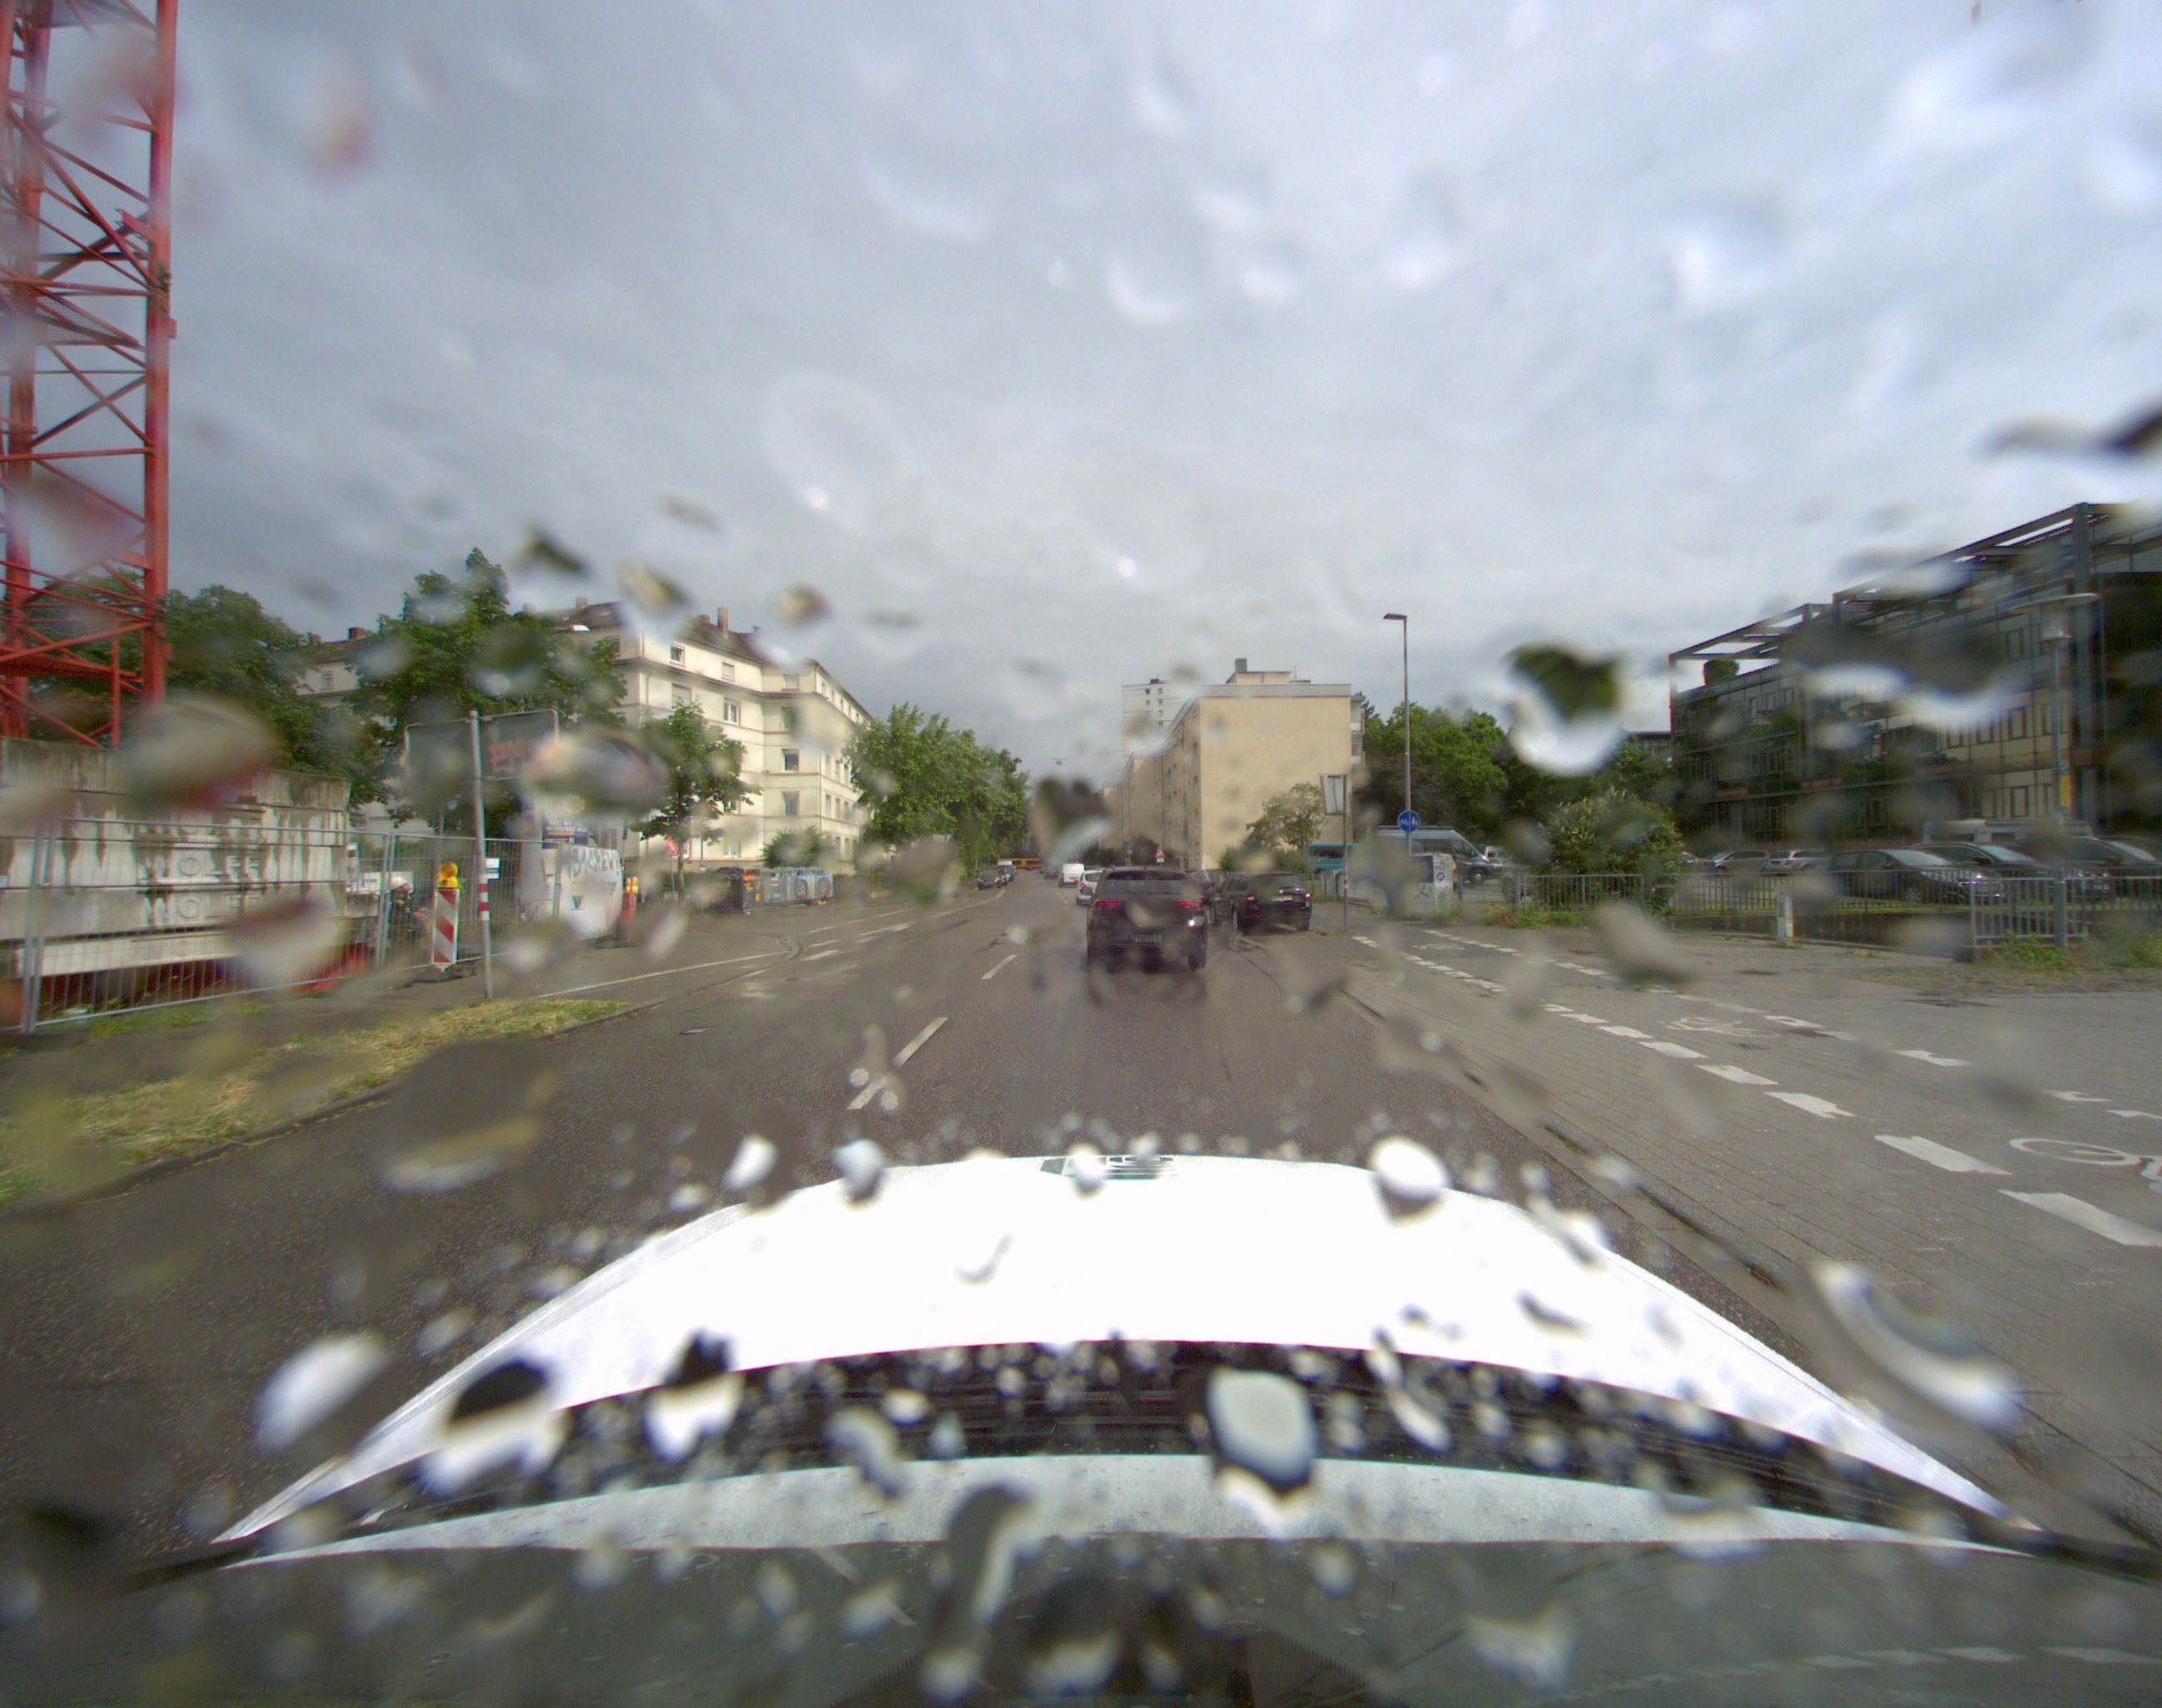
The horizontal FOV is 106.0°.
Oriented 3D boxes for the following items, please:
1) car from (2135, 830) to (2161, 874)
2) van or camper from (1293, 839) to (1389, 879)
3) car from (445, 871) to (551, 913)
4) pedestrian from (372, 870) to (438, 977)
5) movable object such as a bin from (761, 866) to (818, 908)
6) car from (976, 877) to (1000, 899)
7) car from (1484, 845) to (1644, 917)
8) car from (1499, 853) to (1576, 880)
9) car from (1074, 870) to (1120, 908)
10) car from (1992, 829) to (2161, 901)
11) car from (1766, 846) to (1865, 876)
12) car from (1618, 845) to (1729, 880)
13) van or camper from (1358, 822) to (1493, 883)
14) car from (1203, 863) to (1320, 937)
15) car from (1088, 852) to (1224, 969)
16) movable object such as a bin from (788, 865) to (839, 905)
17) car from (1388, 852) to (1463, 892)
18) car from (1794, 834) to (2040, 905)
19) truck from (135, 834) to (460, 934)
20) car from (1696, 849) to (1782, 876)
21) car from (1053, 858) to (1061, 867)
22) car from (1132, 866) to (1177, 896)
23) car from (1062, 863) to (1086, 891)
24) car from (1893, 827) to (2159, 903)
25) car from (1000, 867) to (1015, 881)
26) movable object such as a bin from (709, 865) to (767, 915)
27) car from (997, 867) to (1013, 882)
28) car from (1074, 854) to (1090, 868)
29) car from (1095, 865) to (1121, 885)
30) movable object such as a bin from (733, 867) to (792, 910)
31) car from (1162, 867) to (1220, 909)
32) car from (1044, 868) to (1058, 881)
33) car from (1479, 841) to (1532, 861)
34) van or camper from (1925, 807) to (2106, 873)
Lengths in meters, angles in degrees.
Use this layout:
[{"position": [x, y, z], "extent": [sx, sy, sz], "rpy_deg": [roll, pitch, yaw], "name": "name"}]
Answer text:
[{"position": [38.647, -0.036, 27.611], "extent": [3.653, 1.486, 1.673], "rpy_deg": [1, -1, 1], "name": "car"}, {"position": [14.669, 0.287, 46.133], "extent": [4.739, 2.131, 2.323], "rpy_deg": [-1, -1, 3], "name": "van or camper"}, {"position": [-24.273, 1.578, 33.965], "extent": [3.473, 1.585, 1.671], "rpy_deg": [-2, -1, 12], "name": "car"}, {"position": [-10.780, 1.084, 13.018], "extent": [0.727, 1.630, 0.676], "rpy_deg": [3, -3, -38], "name": "pedestrian"}, {"position": [-12.290, 1.378, 34.406], "extent": [1.525, 1.674, 1.674], "rpy_deg": [-2, 0, 19], "name": "movable object such as a bin"}, {"position": [-6.810, 2.473, 60.046], "extent": [1.583, 1.506, 4.057], "rpy_deg": [-2, -1, -5], "name": "car"}, {"position": [13.060, 0.705, 22.374], "extent": [1.798, 1.750, 4.236], "rpy_deg": [-2, -1, -1], "name": "car"}, {"position": [27.172, 0.730, 48.521], "extent": [3.651, 1.486, 1.640], "rpy_deg": [-2, -1, 2], "name": "car"}, {"position": [0.642, 1.474, 34.570], "extent": [1.807, 1.503, 3.998], "rpy_deg": [1, -2, 0], "name": "car"}, {"position": [26.302, 0.248, 20.483], "extent": [1.846, 1.679, 4.425], "rpy_deg": [-2, -1, 2], "name": "car"}, {"position": [38.250, 0.358, 42.467], "extent": [3.653, 1.486, 1.673], "rpy_deg": [-1, -1, 1], "name": "car"}, {"position": [27.819, 0.405, 38.336], "extent": [3.960, 1.465, 1.673], "rpy_deg": [-2, -1, 1], "name": "car"}, {"position": [15.011, -0.040, 35.754], "extent": [4.981, 2.555, 2.175], "rpy_deg": [-1, -2, 1], "name": "van or camper"}, {"position": [4.382, 1.063, 20.465], "extent": [1.769, 1.540, 4.374], "rpy_deg": [-3, -1, -2], "name": "car"}, {"position": [1.096, 0.862, 13.673], "extent": [1.867, 1.646, 4.060], "rpy_deg": [1, -2, 0], "name": "car"}, {"position": [-11.788, 1.349, 35.931], "extent": [1.525, 1.662, 1.466], "rpy_deg": [-2, 0, 18], "name": "movable object such as a bin"}, {"position": [13.506, 0.680, 32.106], "extent": [1.604, 1.449, 3.419], "rpy_deg": [-2, -1, 3], "name": "car"}, {"position": [20.732, 0.380, 20.530], "extent": [1.820, 1.527, 4.428], "rpy_deg": [-2, -1, 4], "name": "car"}, {"position": [-28.494, 1.105, 29.754], "extent": [9.743, 3.184, 3.806], "rpy_deg": [-2, -1, 13], "name": "truck"}, {"position": [38.390, 0.493, 47.563], "extent": [3.653, 1.486, 1.673], "rpy_deg": [-1, -1, 1], "name": "car"}, {"position": [-4.776, 1.696, 162.300], "extent": [1.661, 1.838, 3.996], "rpy_deg": [-2, -1, -2], "name": "car"}, {"position": [3.877, 1.405, 43.481], "extent": [1.745, 1.508, 4.105], "rpy_deg": [-1, -1, -4], "name": "car"}, {"position": [-0.564, 1.850, 64.547], "extent": [1.831, 2.103, 3.997], "rpy_deg": [1, -2, -1], "name": "car"}, {"position": [23.728, 0.286, 20.774], "extent": [1.844, 1.679, 4.430], "rpy_deg": [-2, -1, 6], "name": "car"}, {"position": [-8.673, 2.345, 96.260], "extent": [1.583, 1.639, 3.913], "rpy_deg": [-2, -1, -5], "name": "car"}, {"position": [-13.173, 1.363, 31.291], "extent": [1.525, 1.824, 1.269], "rpy_deg": [-2, 0, 18], "name": "movable object such as a bin"}, {"position": [-8.401, 2.251, 90.282], "extent": [1.583, 1.639, 3.913], "rpy_deg": [-2, -1, -5], "name": "car"}, {"position": [0.109, 0.911, 99.645], "extent": [1.834, 1.608, 3.675], "rpy_deg": [-2, -1, 1], "name": "car"}, {"position": [2.111, 1.659, 64.963], "extent": [1.691, 1.539, 4.027], "rpy_deg": [-2, -1, -3], "name": "car"}, {"position": [-12.822, 1.384, 32.836], "extent": [1.525, 1.656, 1.535], "rpy_deg": [-2, 0, 18], "name": "movable object such as a bin"}, {"position": [4.260, 1.316, 32.011], "extent": [1.751, 1.528, 3.999], "rpy_deg": [-1, -2, 0], "name": "car"}, {"position": [-3.865, 2.629, 105.339], "extent": [1.601, 1.510, 3.542], "rpy_deg": [-2, -1, -4], "name": "car"}, {"position": [32.330, -0.204, 62.102], "extent": [3.212, 1.397, 1.510], "rpy_deg": [-2, -1, 2], "name": "car"}, {"position": [37.518, -0.515, 32.814], "extent": [4.772, 2.487, 2.256], "rpy_deg": [1, -2, -1], "name": "van or camper"}]
